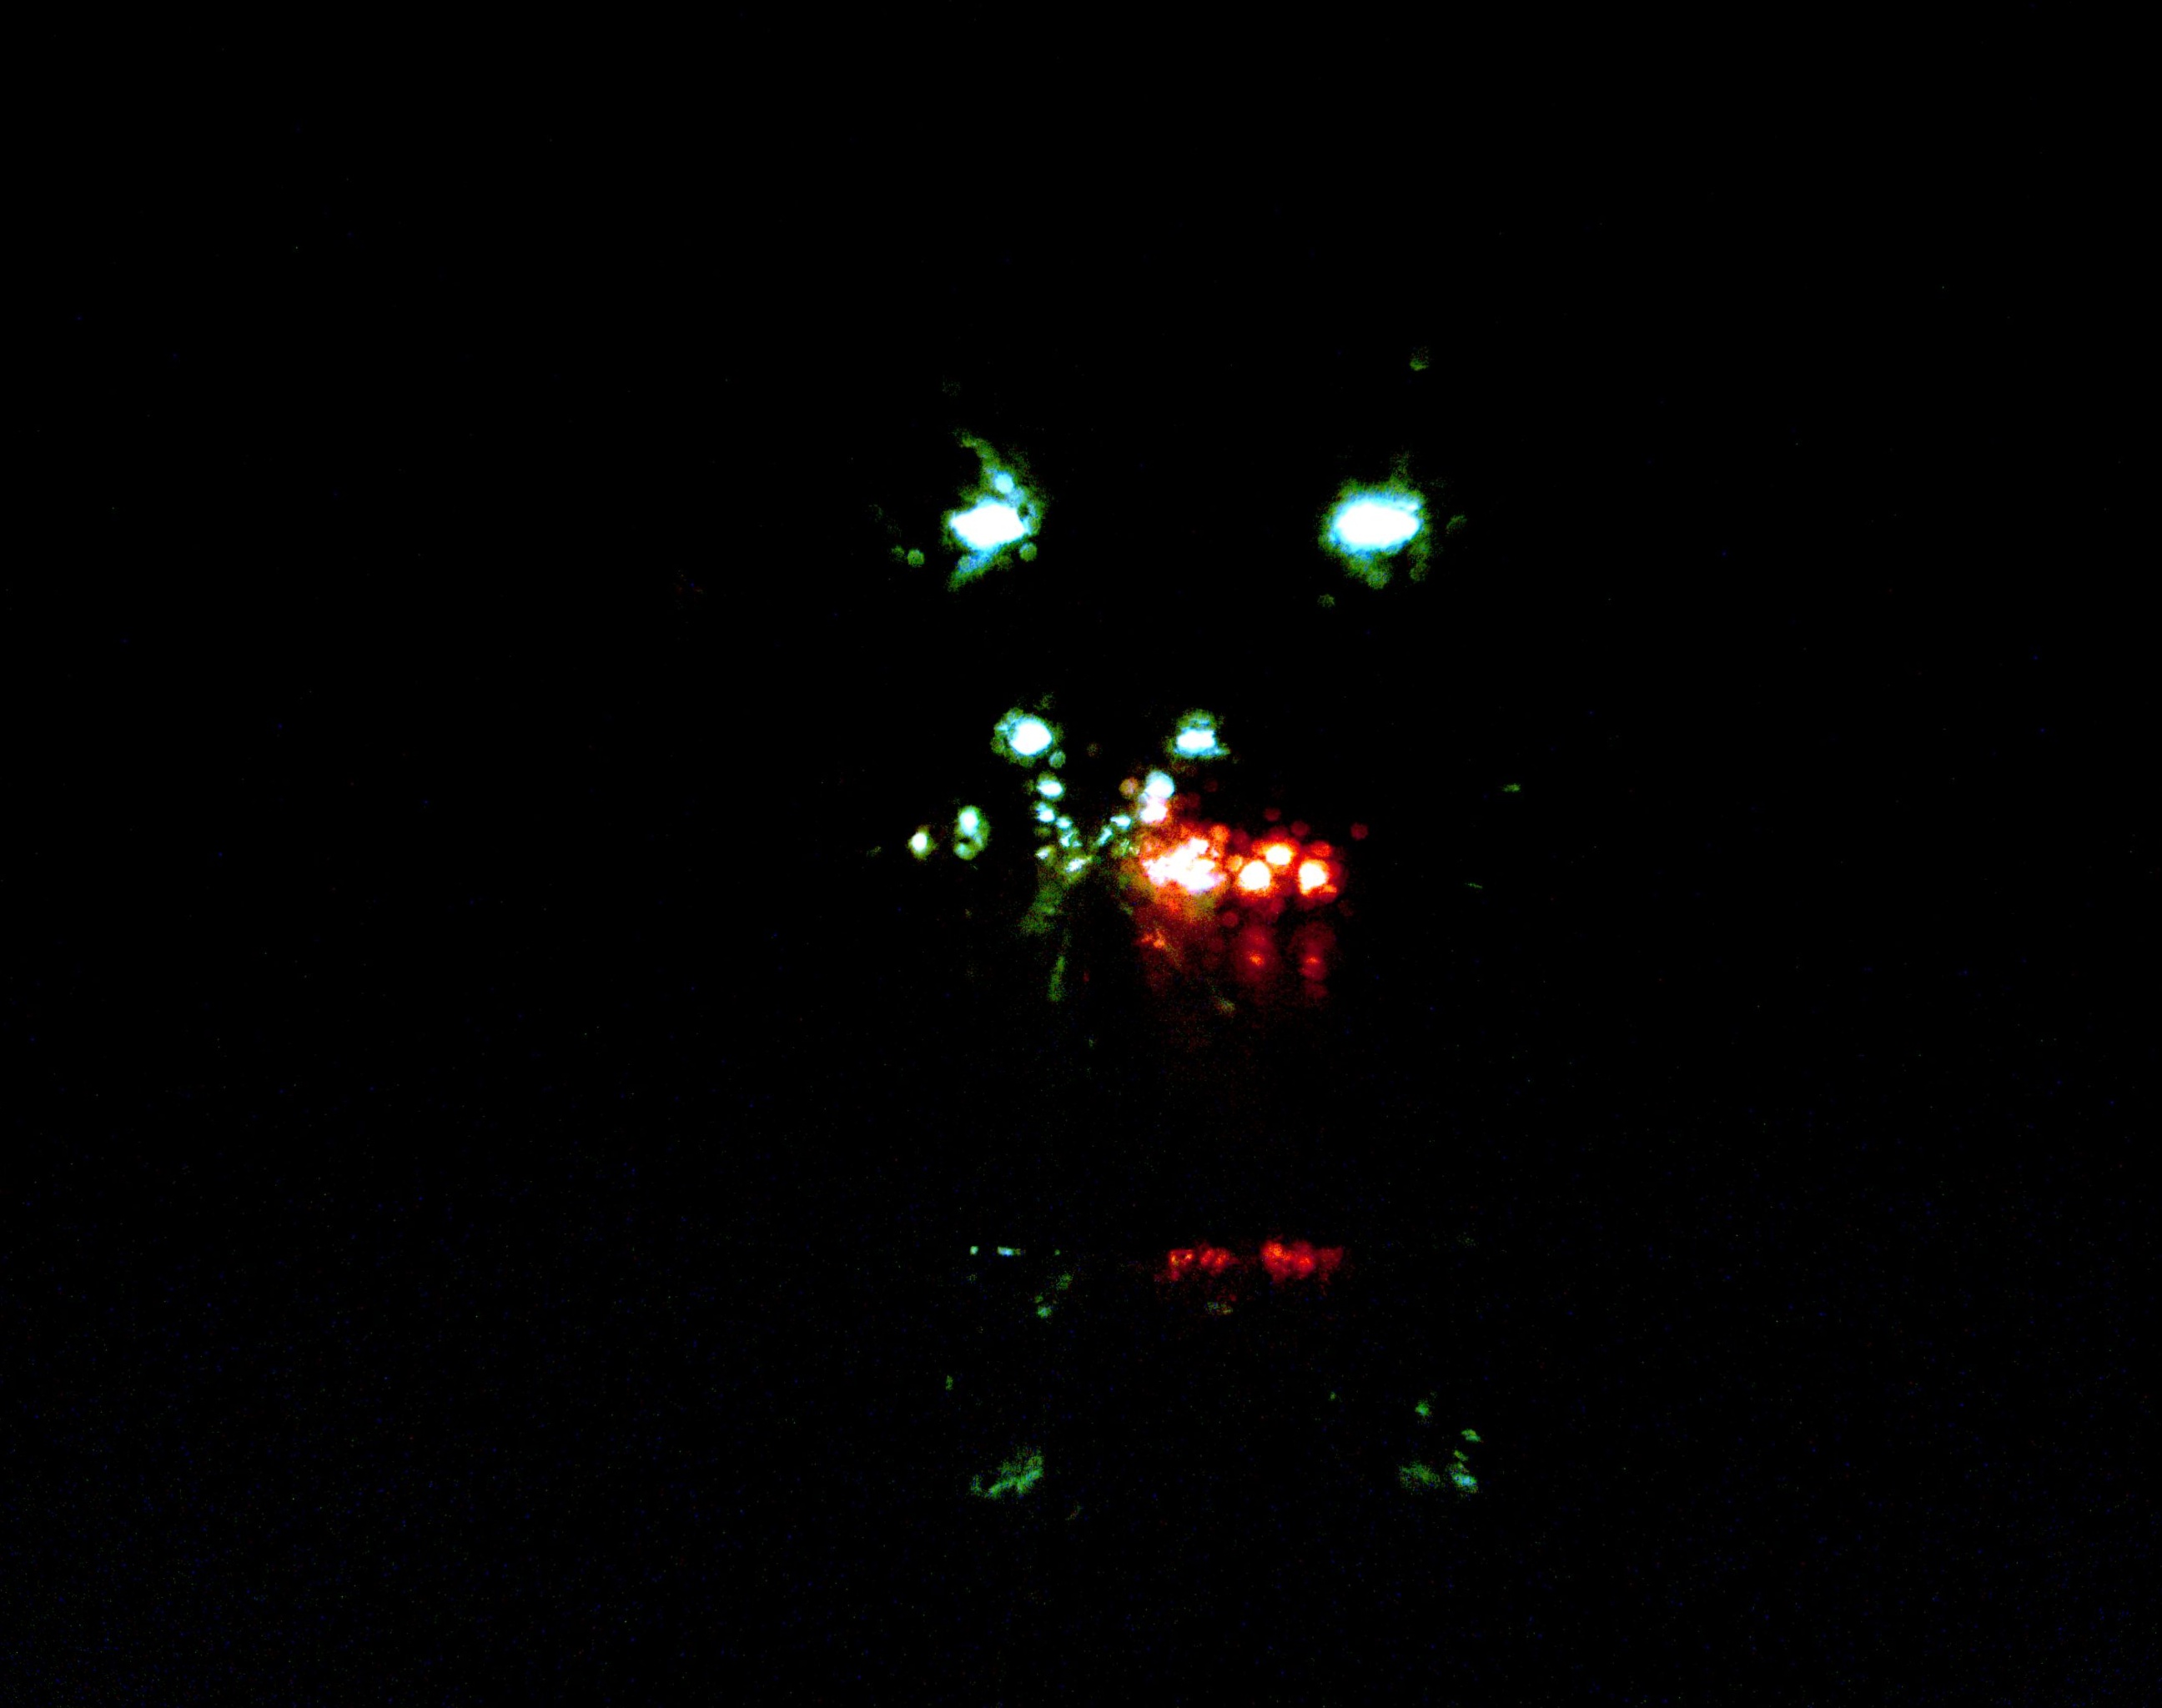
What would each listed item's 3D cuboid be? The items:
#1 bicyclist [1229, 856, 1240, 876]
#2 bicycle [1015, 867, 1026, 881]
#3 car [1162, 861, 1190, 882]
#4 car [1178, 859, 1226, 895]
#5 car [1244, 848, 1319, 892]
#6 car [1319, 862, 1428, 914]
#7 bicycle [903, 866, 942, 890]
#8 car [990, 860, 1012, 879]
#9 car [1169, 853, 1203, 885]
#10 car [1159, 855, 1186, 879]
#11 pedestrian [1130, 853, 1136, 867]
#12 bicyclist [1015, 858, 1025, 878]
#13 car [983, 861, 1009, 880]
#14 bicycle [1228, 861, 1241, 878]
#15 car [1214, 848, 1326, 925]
[{"bbox_3d":[11.630,0.906,57.612,0.656,1.457,0.868,-3,1,3],"label":"bicyclist"},{"bbox_3d":[-4.755,1.579,59.555,0.572,0.964,1.780,-3,1,3],"label":"bicycle"},{"bbox_3d":[6.935,1.236,55.668,1.796,1.456,3.903,-1,0,5],"label":"car"},{"bbox_3d":[5.372,0.981,34.135,1.655,1.470,4.206,0,0,2],"label":"car"},{"bbox_3d":[9.410,0.728,36.209,1.999,1.815,5.309,-4,-1,-1],"label":"car"},{"bbox_3d":[9.334,1.033,24.603,1.770,1.398,4.140,-3,0,-2],"label":"car"},{"bbox_3d":[-7.978,1.192,38.229,1.818,1.157,0.492,2,1,-2],"label":"bicycle"},{"bbox_3d":[-6.951,1.309,66.198,1.652,1.516,3.579,3,0,-3],"label":"car"},{"bbox_3d":[6.560,0.922,47.728,1.930,1.868,4.639,1,0,5],"label":"car"},{"bbox_3d":[7.477,1.023,62.341,1.899,1.858,4.537,0,0,3],"label":"car"},{"bbox_3d":[6.988,0.797,101.448,0.716,1.764,0.671,-3,1,3],"label":"pedestrian"},{"bbox_3d":[-4.781,1.088,59.448,0.572,1.539,0.816,-3,1,3],"label":"bicyclist"},{"bbox_3d":[-6.748,1.299,60.783,1.649,1.433,4.055,3,0,-1],"label":"car"},{"bbox_3d":[11.650,1.170,57.721,0.656,1.135,1.898,-3,1,3],"label":"bicycle"},{"bbox_3d":[4.889,0.782,20.275,1.943,1.805,4.385,1,0,1],"label":"car"}]
